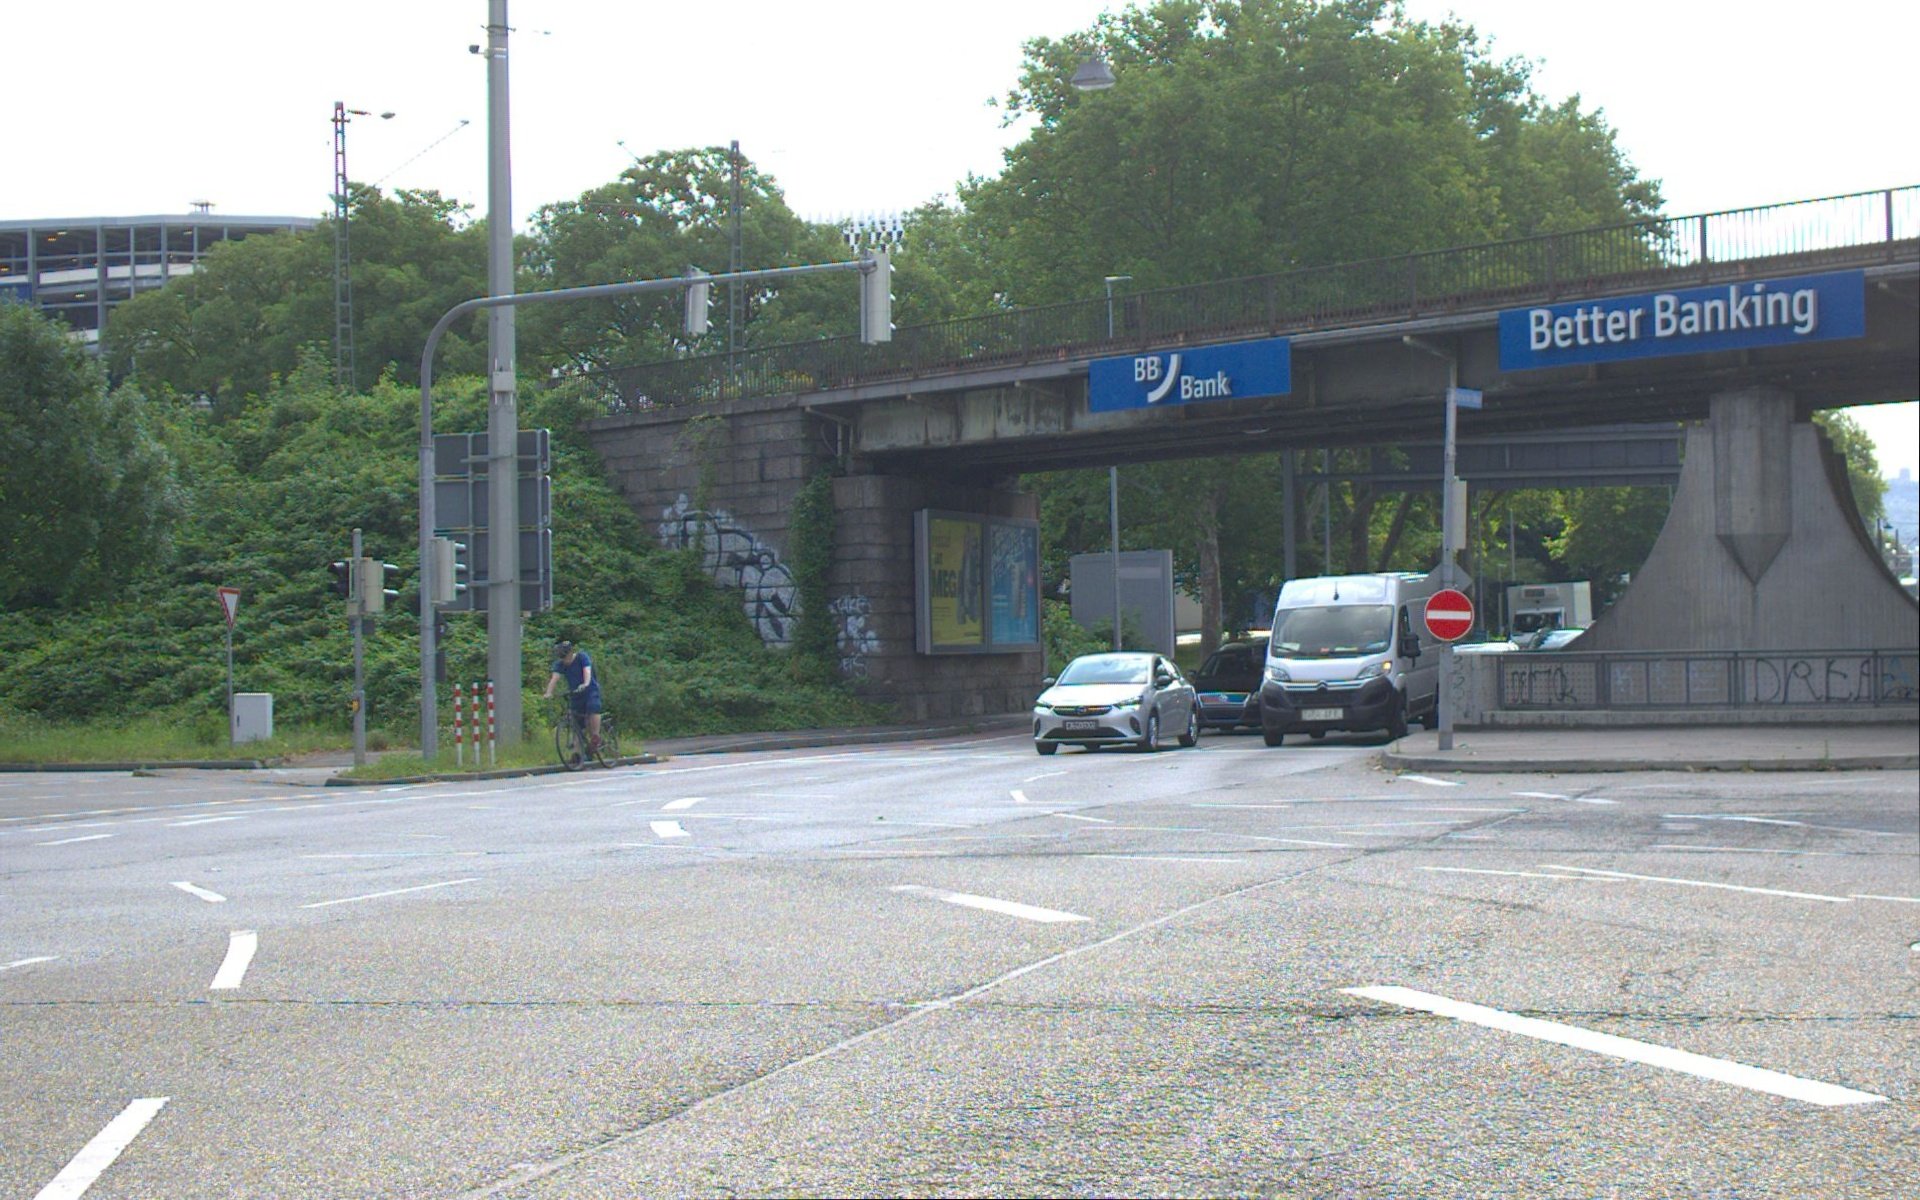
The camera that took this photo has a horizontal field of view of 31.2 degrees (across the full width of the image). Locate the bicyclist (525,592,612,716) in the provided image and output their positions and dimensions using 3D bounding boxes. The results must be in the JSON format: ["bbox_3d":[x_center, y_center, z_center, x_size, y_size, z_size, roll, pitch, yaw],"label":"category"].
[{"bbox_3d":[-5.416,0.750,47.604,0.843,1.673,0.822,-1,1,24],"label":"bicyclist"}]

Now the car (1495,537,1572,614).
[{"bbox_3d":[20.323,-0.889,121.642,2.246,2.569,5.623,-3,0,13],"label":"car"}]

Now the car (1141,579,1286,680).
[{"bbox_3d":[4.372,0.471,58.675,1.766,1.578,4.661,-2,0,13],"label":"car"}]

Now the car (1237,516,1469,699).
[{"bbox_3d":[5.938,0.061,51.263,2.260,2.518,5.622,-2,0,18],"label":"car"}]

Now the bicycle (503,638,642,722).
[{"bbox_3d":[-5.356,1.100,47.716,0.843,1.090,2.315,-1,0,24],"label":"bicycle"}]

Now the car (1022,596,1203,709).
[{"bbox_3d":[2.270,0.738,50.172,1.704,1.471,3.997,-2,0,16],"label":"car"}]
